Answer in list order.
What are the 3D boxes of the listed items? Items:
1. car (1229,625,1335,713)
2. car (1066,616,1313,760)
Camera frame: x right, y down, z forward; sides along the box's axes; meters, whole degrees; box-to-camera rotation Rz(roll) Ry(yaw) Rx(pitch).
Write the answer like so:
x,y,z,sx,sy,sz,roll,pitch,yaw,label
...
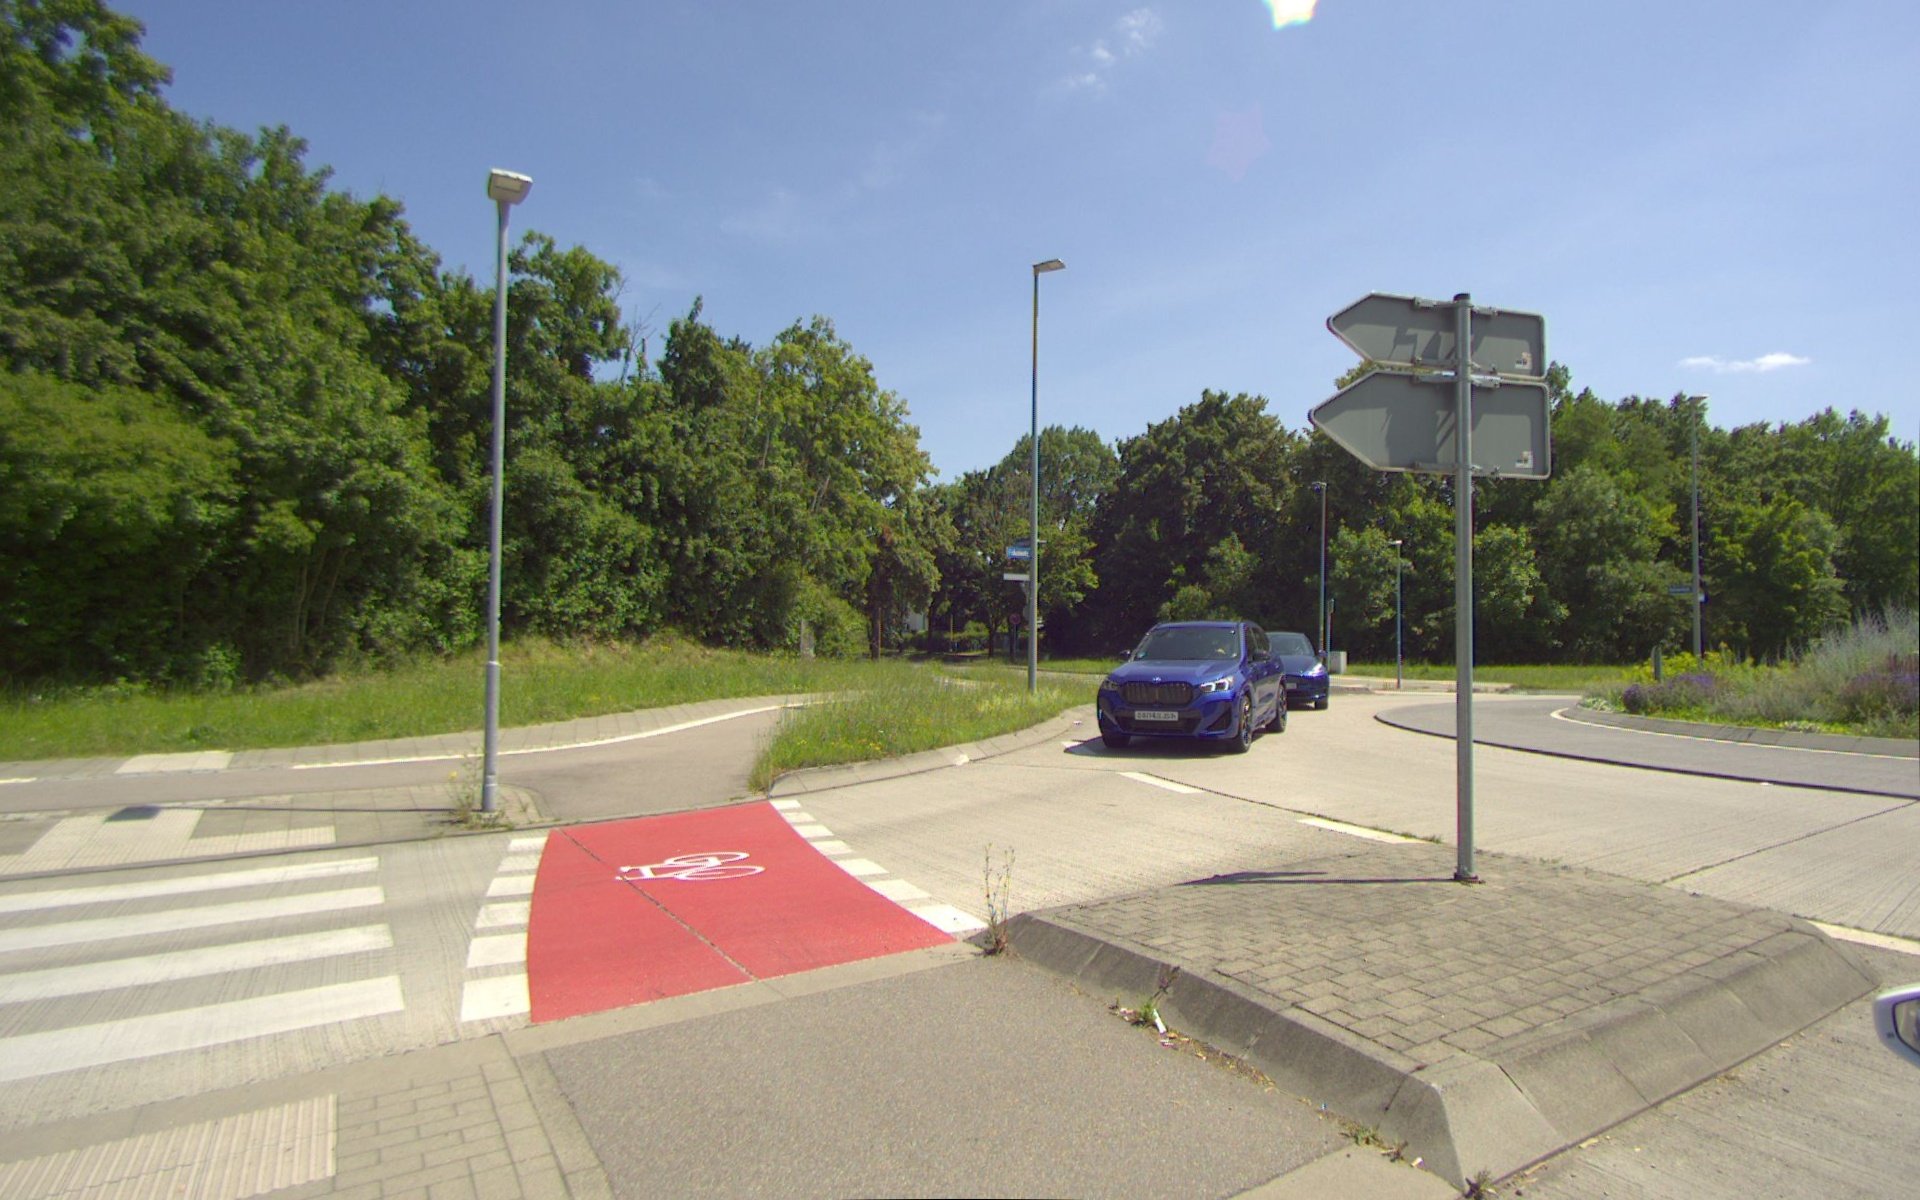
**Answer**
x,y,z,sx,sy,sz,roll,pitch,yaw,label
6.915,1.411,21.806,1.960,1.661,4.760,0,-2,16,car
3.272,1.059,13.637,1.966,1.617,4.312,-2,-2,32,car
